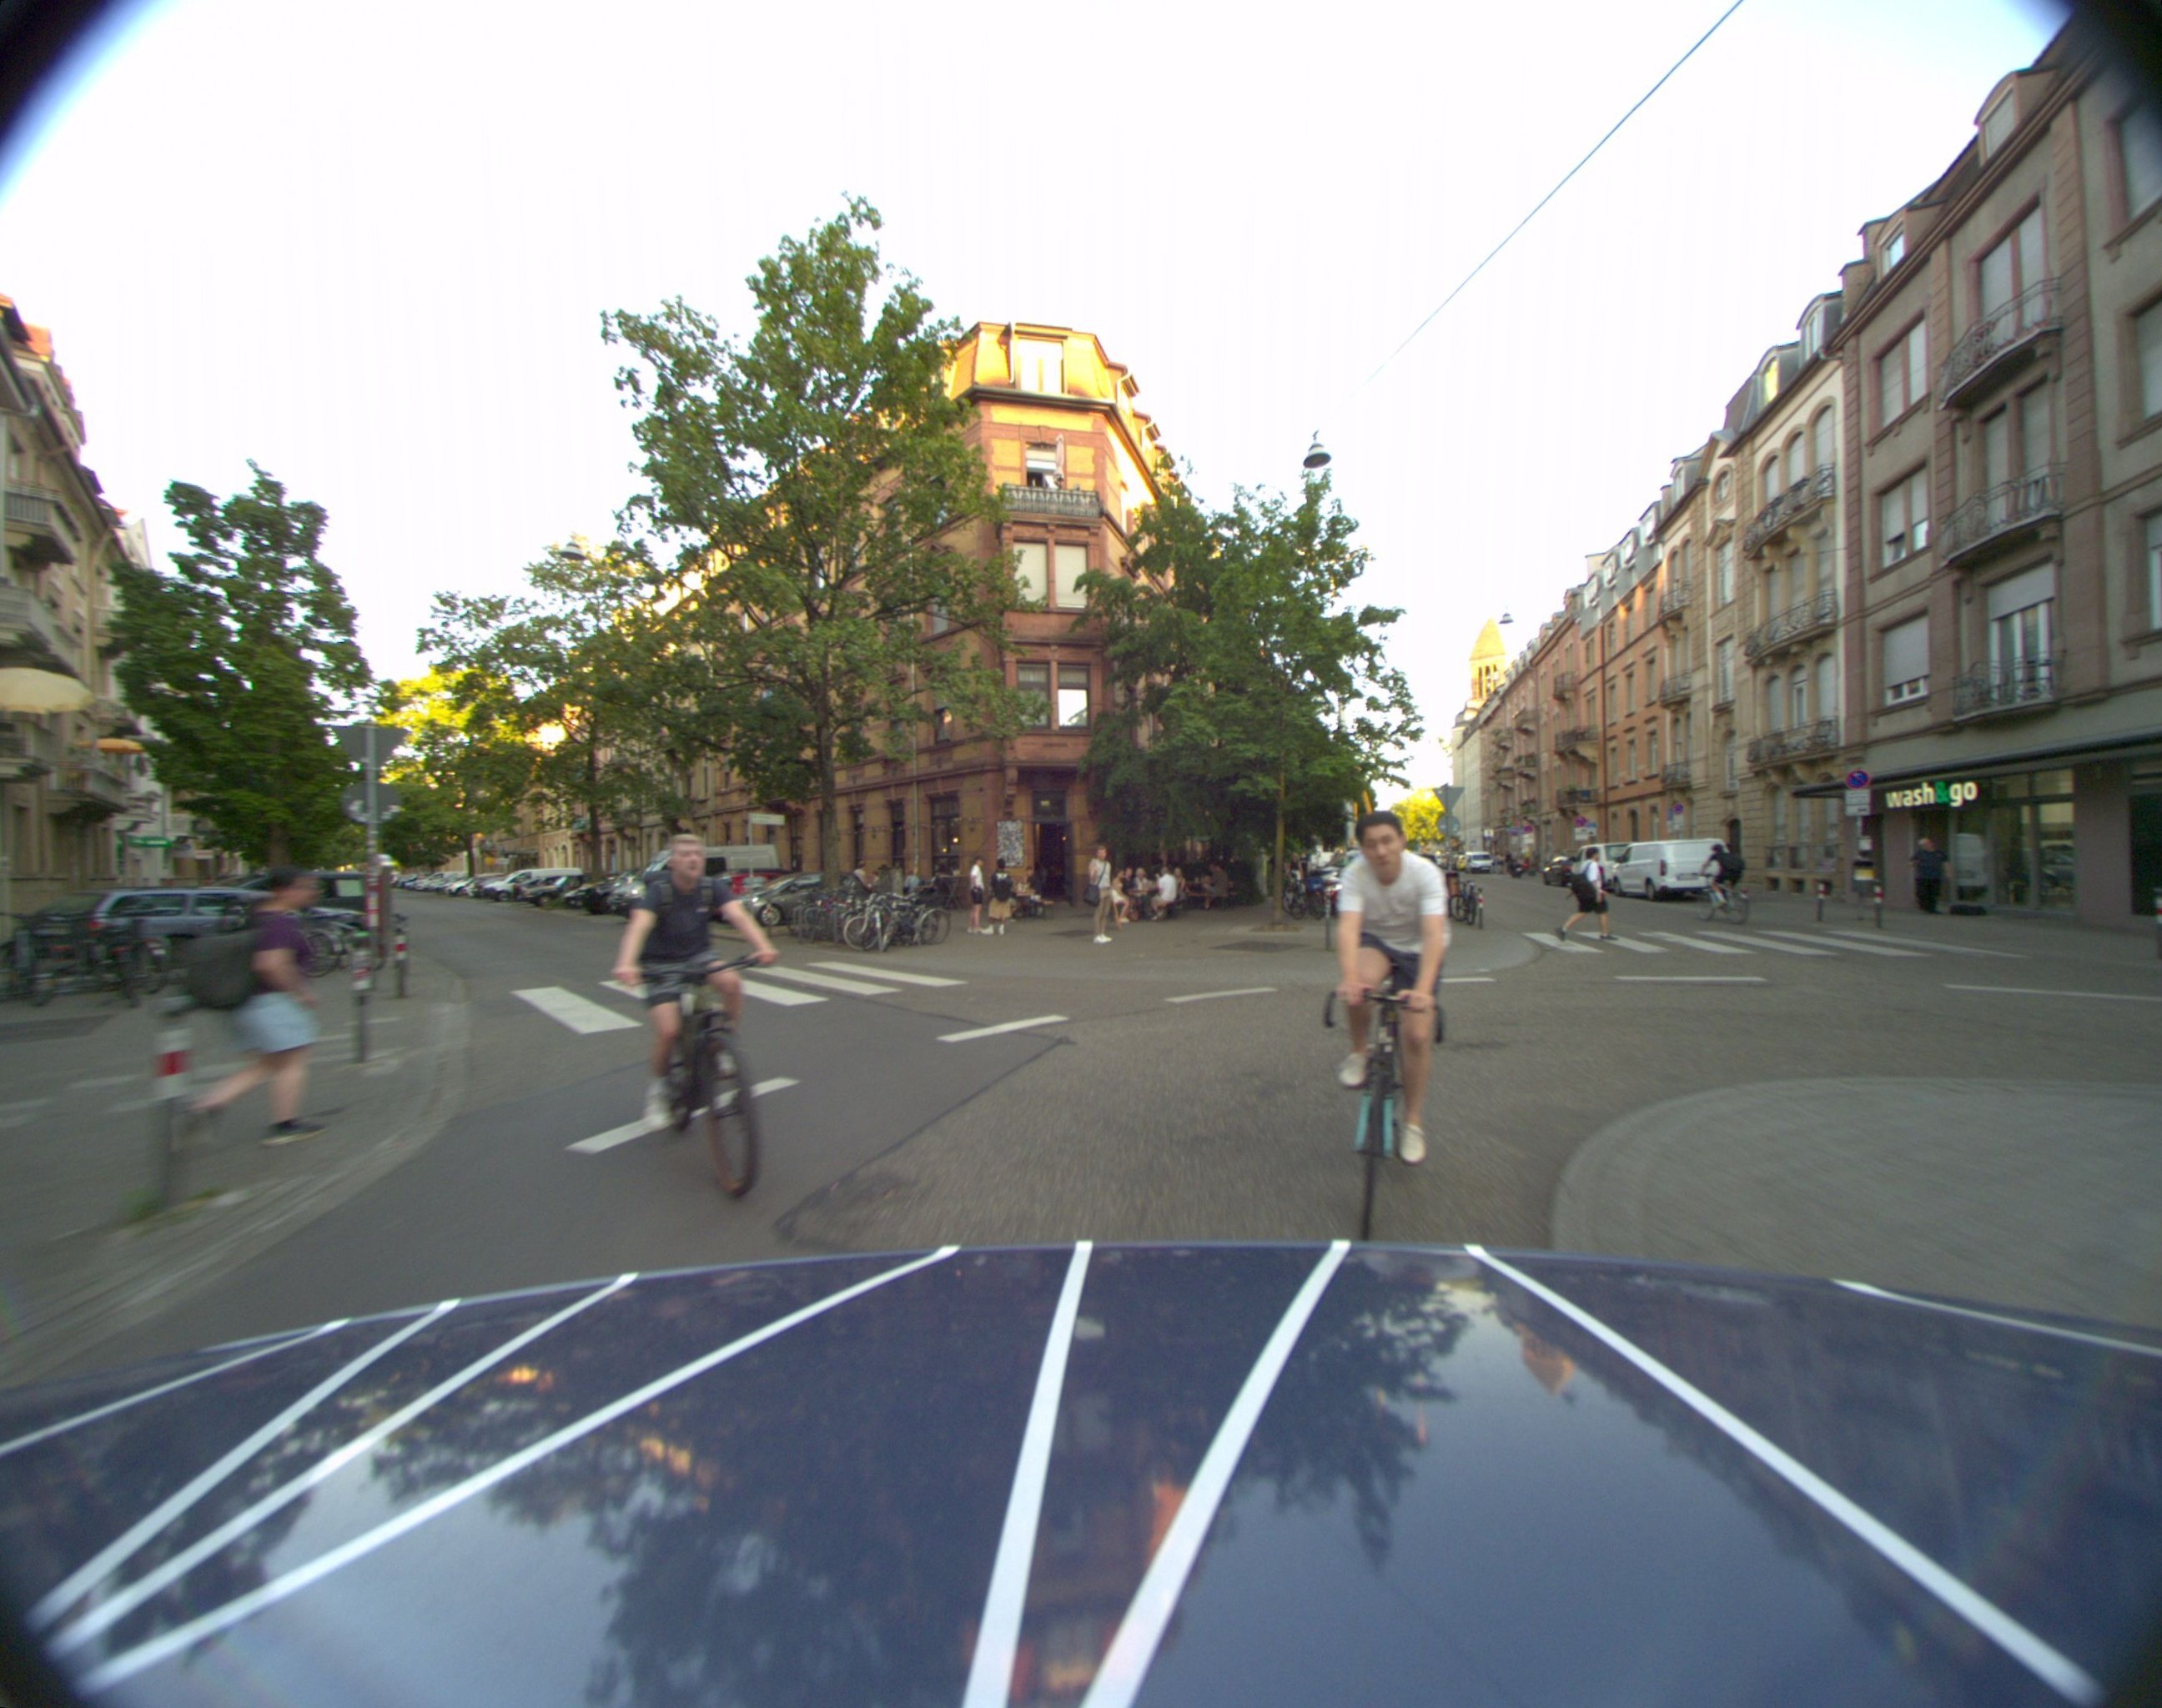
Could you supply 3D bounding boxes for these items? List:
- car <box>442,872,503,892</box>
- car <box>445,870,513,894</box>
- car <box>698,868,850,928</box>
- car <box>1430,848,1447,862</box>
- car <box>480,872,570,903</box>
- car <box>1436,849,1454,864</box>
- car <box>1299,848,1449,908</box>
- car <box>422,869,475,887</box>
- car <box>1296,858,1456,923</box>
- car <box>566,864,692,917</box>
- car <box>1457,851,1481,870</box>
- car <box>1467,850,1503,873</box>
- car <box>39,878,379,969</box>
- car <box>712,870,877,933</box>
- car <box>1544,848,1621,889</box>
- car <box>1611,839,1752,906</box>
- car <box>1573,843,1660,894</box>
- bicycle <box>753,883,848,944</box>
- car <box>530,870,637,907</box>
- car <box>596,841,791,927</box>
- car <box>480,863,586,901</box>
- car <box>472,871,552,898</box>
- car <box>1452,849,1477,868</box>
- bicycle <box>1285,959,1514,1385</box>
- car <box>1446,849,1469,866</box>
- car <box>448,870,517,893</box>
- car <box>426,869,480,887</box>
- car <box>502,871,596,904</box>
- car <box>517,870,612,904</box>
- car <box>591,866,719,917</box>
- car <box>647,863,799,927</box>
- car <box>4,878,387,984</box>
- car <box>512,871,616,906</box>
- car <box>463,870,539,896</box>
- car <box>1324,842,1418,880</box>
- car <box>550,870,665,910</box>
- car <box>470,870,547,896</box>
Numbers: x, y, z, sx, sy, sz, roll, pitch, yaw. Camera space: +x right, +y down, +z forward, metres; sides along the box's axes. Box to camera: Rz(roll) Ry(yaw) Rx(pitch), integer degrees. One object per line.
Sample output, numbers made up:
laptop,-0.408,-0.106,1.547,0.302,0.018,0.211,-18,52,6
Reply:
car,-53.374,2.430,66.684,1.787,1.557,3.919,-1,1,42
car,-47.871,2.194,60.464,1.787,1.620,3.919,-1,1,42
car,-9.405,1.292,23.473,3.983,1.494,1.623,-3,1,-45
car,49.506,0.133,105.342,1.926,1.728,3.902,-2,1,24
car,-32.312,1.890,44.245,1.728,1.528,3.877,-1,1,39
car,45.804,0.363,95.706,1.865,1.728,3.805,-2,1,24
car,11.597,0.902,30.295,5.145,2.085,2.116,-2,1,-5
car,-64.790,2.432,77.832,1.787,1.620,3.919,-1,1,42
car,8.664,1.023,22.437,4.000,1.658,1.826,-2,1,-11
car,-18.248,1.417,30.764,3.983,1.814,1.846,-3,1,-45
car,37.267,0.618,73.023,1.837,1.633,3.931,-2,1,24
car,33.571,0.577,63.271,2.138,1.811,4.547,-2,0,22
car,-18.472,1.385,16.507,1.948,1.478,4.453,-2,1,8
car,-7.992,1.270,21.437,3.983,1.412,1.623,-3,1,-45
car,23.944,0.661,36.464,2.138,1.811,4.547,-2,0,21
car,19.612,0.556,25.123,2.138,1.946,4.776,-2,0,19
car,21.652,0.553,30.923,1.876,1.892,4.333,-2,0,21
bicycle,-6.488,1.346,17.603,1.887,1.232,0.711,-3,1,-37
car,-24.666,1.668,37.772,1.846,1.528,3.983,-1,1,39
car,-13.240,0.922,26.298,2.115,2.443,5.498,-1,2,42
car,-33.767,1.680,46.917,2.196,2.000,4.858,-1,1,41
car,-37.595,2.011,50.274,1.787,1.525,3.919,-1,1,42
car,38.741,0.446,76.831,1.995,1.728,4.006,-2,1,24
bicycle,1.384,1.120,3.346,0.657,1.012,1.920,-2,1,23
car,40.382,0.361,81.592,1.995,1.728,4.006,-2,1,24
car,-46.464,2.112,59.014,1.787,1.588,3.919,-1,1,42
car,-62.652,2.372,75.840,1.787,1.620,3.919,-1,1,42
car,-29.646,1.839,42.434,1.728,1.528,3.877,-1,1,39
car,-27.919,1.755,41.148,1.728,1.528,3.877,-1,1,39
car,-16.620,1.408,29.751,3.983,1.653,1.759,-3,1,-45
car,-11.431,1.251,24.449,1.759,1.653,3.983,-1,2,45
car,-16.453,1.329,14.573,1.790,1.478,4.453,-2,1,8
car,-26.500,1.724,39.020,1.846,1.528,3.983,-1,1,39
car,-41.053,2.018,53.826,1.787,1.539,3.919,-1,1,42
car,18.782,0.421,49.286,5.145,2.182,2.337,-2,1,-5
car,-21.520,1.582,34.648,1.846,1.528,3.983,-1,1,39
car,-39.443,1.948,52.432,1.787,1.525,3.919,-1,1,42
